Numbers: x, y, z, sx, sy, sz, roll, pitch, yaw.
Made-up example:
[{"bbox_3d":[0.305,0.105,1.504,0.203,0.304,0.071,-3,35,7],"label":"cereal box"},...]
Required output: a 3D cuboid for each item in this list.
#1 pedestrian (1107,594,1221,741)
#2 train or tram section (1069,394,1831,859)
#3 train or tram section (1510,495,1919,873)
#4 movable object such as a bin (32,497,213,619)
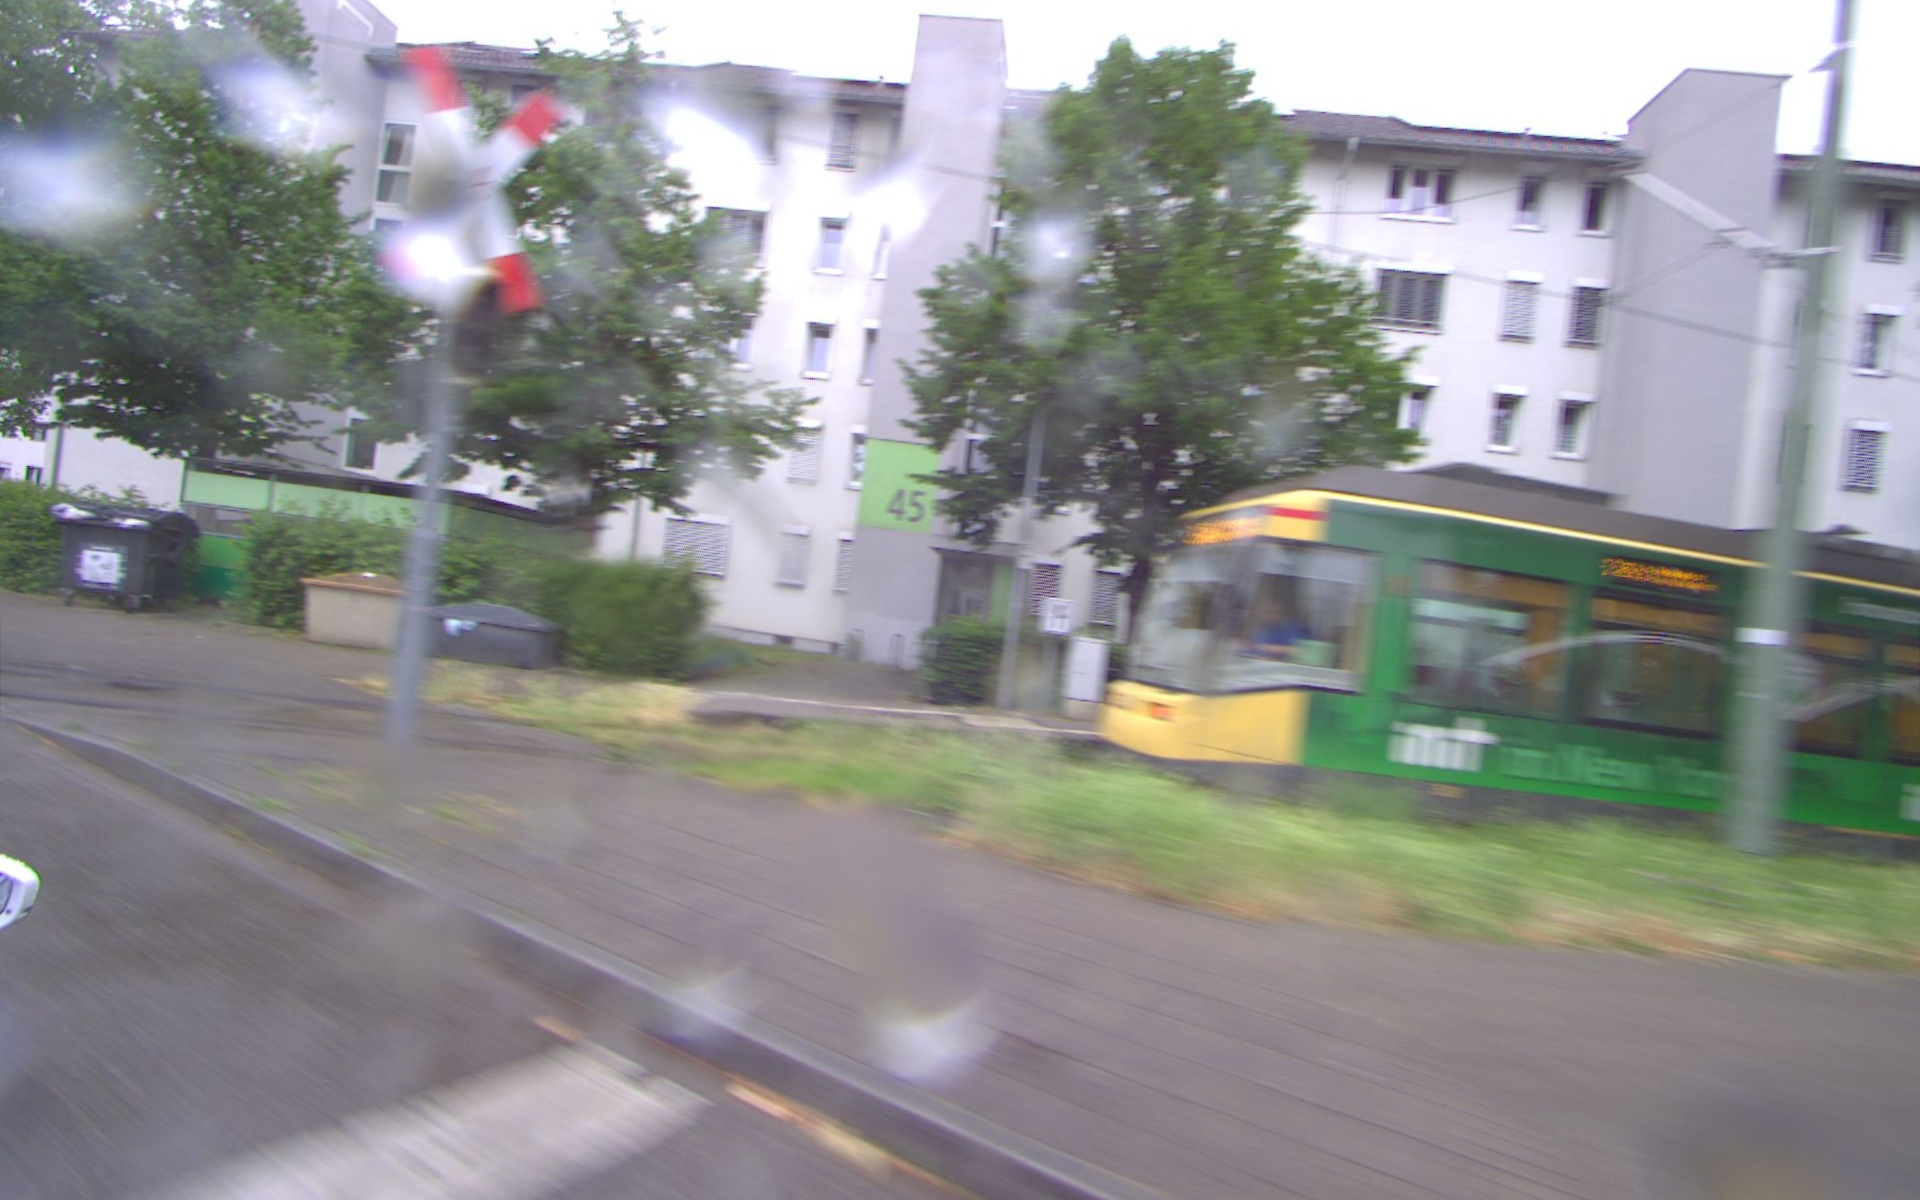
[{"bbox_3d":[2.699,0.882,13.379,1.004,1.796,0.861,6,0,-18],"label":"pedestrian"},{"bbox_3d":[4.693,0.378,10.180,6.296,3.381,2.751,7,0,-12],"label":"train or tram section"},{"bbox_3d":[11.984,1.315,11.755,10.183,3.381,2.751,7,0,-12],"label":"train or tram section"},{"bbox_3d":[-11.691,-0.561,14.115,1.451,1.458,1.151,7,0,-7],"label":"movable object such as a bin"}]
